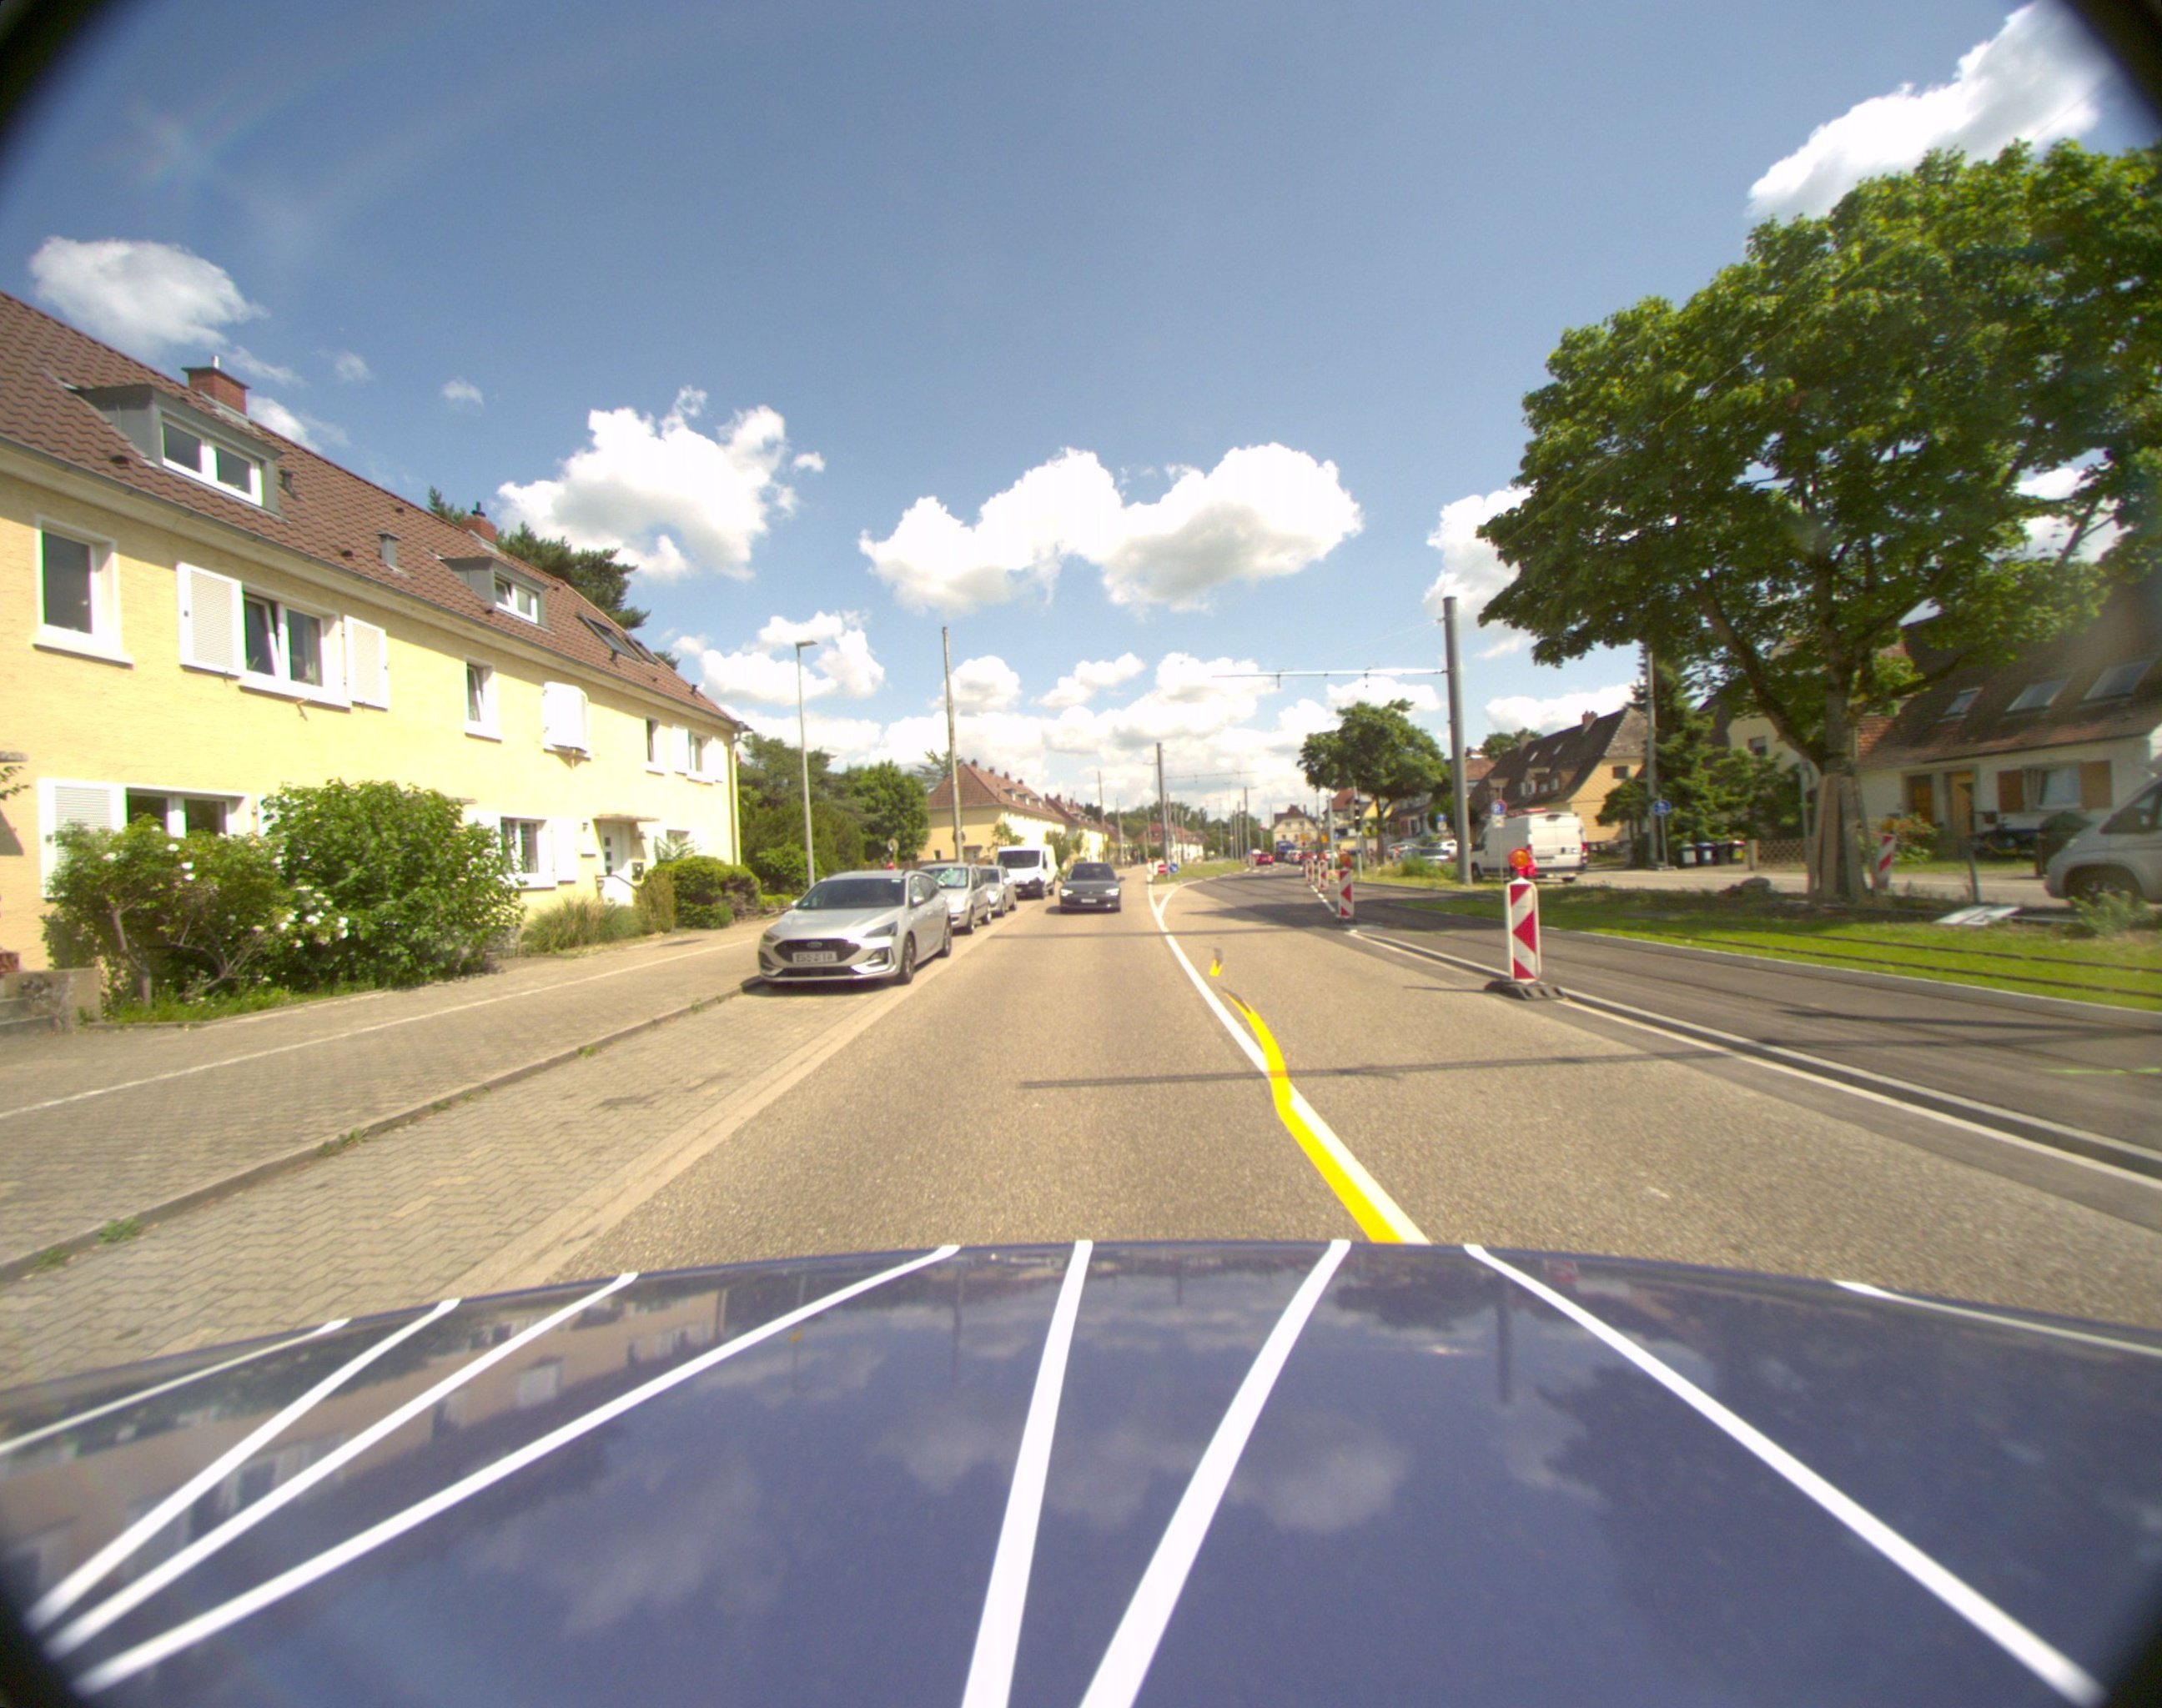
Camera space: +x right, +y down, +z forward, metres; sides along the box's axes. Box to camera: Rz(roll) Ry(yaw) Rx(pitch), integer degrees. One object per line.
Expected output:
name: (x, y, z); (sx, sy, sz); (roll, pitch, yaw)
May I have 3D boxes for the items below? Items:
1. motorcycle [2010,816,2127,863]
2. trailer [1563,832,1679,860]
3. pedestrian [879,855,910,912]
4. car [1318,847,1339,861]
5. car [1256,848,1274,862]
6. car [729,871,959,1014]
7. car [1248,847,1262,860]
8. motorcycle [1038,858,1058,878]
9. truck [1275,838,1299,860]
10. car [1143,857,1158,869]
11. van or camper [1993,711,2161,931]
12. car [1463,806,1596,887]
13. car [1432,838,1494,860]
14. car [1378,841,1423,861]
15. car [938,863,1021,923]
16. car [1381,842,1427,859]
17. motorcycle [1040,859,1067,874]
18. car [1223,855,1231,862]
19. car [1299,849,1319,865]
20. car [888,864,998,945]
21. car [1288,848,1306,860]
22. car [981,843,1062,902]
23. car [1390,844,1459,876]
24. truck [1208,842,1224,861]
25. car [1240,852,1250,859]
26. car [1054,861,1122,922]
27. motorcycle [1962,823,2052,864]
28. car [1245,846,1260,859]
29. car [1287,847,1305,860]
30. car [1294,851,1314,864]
motorcycle: (28.555, -0.401, 22.026); (0.578, 1.265, 1.999); (-3, 0, -10)
trailer: (32.341, -0.480, 45.641); (5.265, 1.385, 2.025); (-3, 0, 8)
pedestrian: (-6.689, 1.043, 27.288); (0.774, 2.002, 0.761); (-3, 0, 3)
car: (30.098, -0.046, 92.590); (1.728, 1.553, 4.545); (-3, 0, 10)
car: (21.835, 0.151, 90.483); (1.728, 1.553, 4.545); (-3, 0, 10)
car: (-3.015, 1.043, 10.725); (1.754, 1.489, 4.386); (-2, 0, 1)
car: (25.440, -0.068, 111.141); (1.728, 1.843, 4.545); (-3, 0, 9)
motorcycle: (-2.514, 1.040, 57.970); (1.049, 1.462, 2.586); (0, 0, 8)
truck: (30.707, -0.742, 113.379); (2.840, 3.135, 7.941); (-3, 0, 12)
car: (10.279, 1.319, 111.638); (1.878, 1.543, 4.988); (-3, 0, 8)
van or camper: (15.740, -0.496, 8.440); (2.382, 2.952, 7.296); (-3, 0, 0)
car: (16.534, -0.262, 28.405); (2.158, 2.653, 4.917); (-3, 0, 3)
car: (29.881, -0.374, 59.503); (3.959, 1.535, 1.761); (-3, 0, 1)
car: (33.442, -0.330, 79.633); (3.995, 1.835, 1.803); (-3, 0, 6)
car: (-2.837, 1.055, 22.191); (1.712, 1.495, 4.255); (-2, 0, 1)
car: (32.574, -0.339, 76.613); (3.886, 1.546, 1.682); (-3, 0, 6)
motorcycle: (-2.535, 1.144, 69.589); (2.231, 1.190, 0.855); (-3, 0, 10)
car: (45.696, 1.436, 237.498); (2.058, 1.996, 4.953); (-2, 0, 13)
car: (23.587, 0.252, 78.627); (1.728, 1.518, 4.775); (-3, 0, 15)
car: (-3.001, 1.041, 17.272); (1.632, 1.541, 3.810); (-2, 0, 2)
car: (26.243, -0.048, 92.441); (1.728, 1.327, 4.546); (-3, 0, 12)
car: (-2.334, 0.718, 31.996); (2.281, 2.170, 6.370); (-2, 0, 5)
car: (17.630, 0.293, 39.239); (1.696, 1.456, 4.757); (-3, 0, 5)
truck: (39.303, -0.669, 221.305); (3.473, 5.153, 14.232); (-3, 0, 14)
car: (45.000, 0.447, 208.106); (2.282, 1.861, 4.991); (-3, 0, 17)
car: (0.271, 1.003, 22.292); (1.742, 1.513, 4.702); (-1, 0, 2)
motorcycle: (27.603, -0.298, 22.692); (0.497, 1.163, 1.793); (-3, 0, 0)
car: (26.779, -0.261, 118.783); (1.921, 1.953, 4.545); (-3, 0, 9)
car: (27.993, -0.025, 98.967); (1.728, 1.553, 4.545); (-3, 0, 10)
car: (25.041, 0.364, 85.454); (1.728, 1.327, 4.546); (-3, 0, 12)
